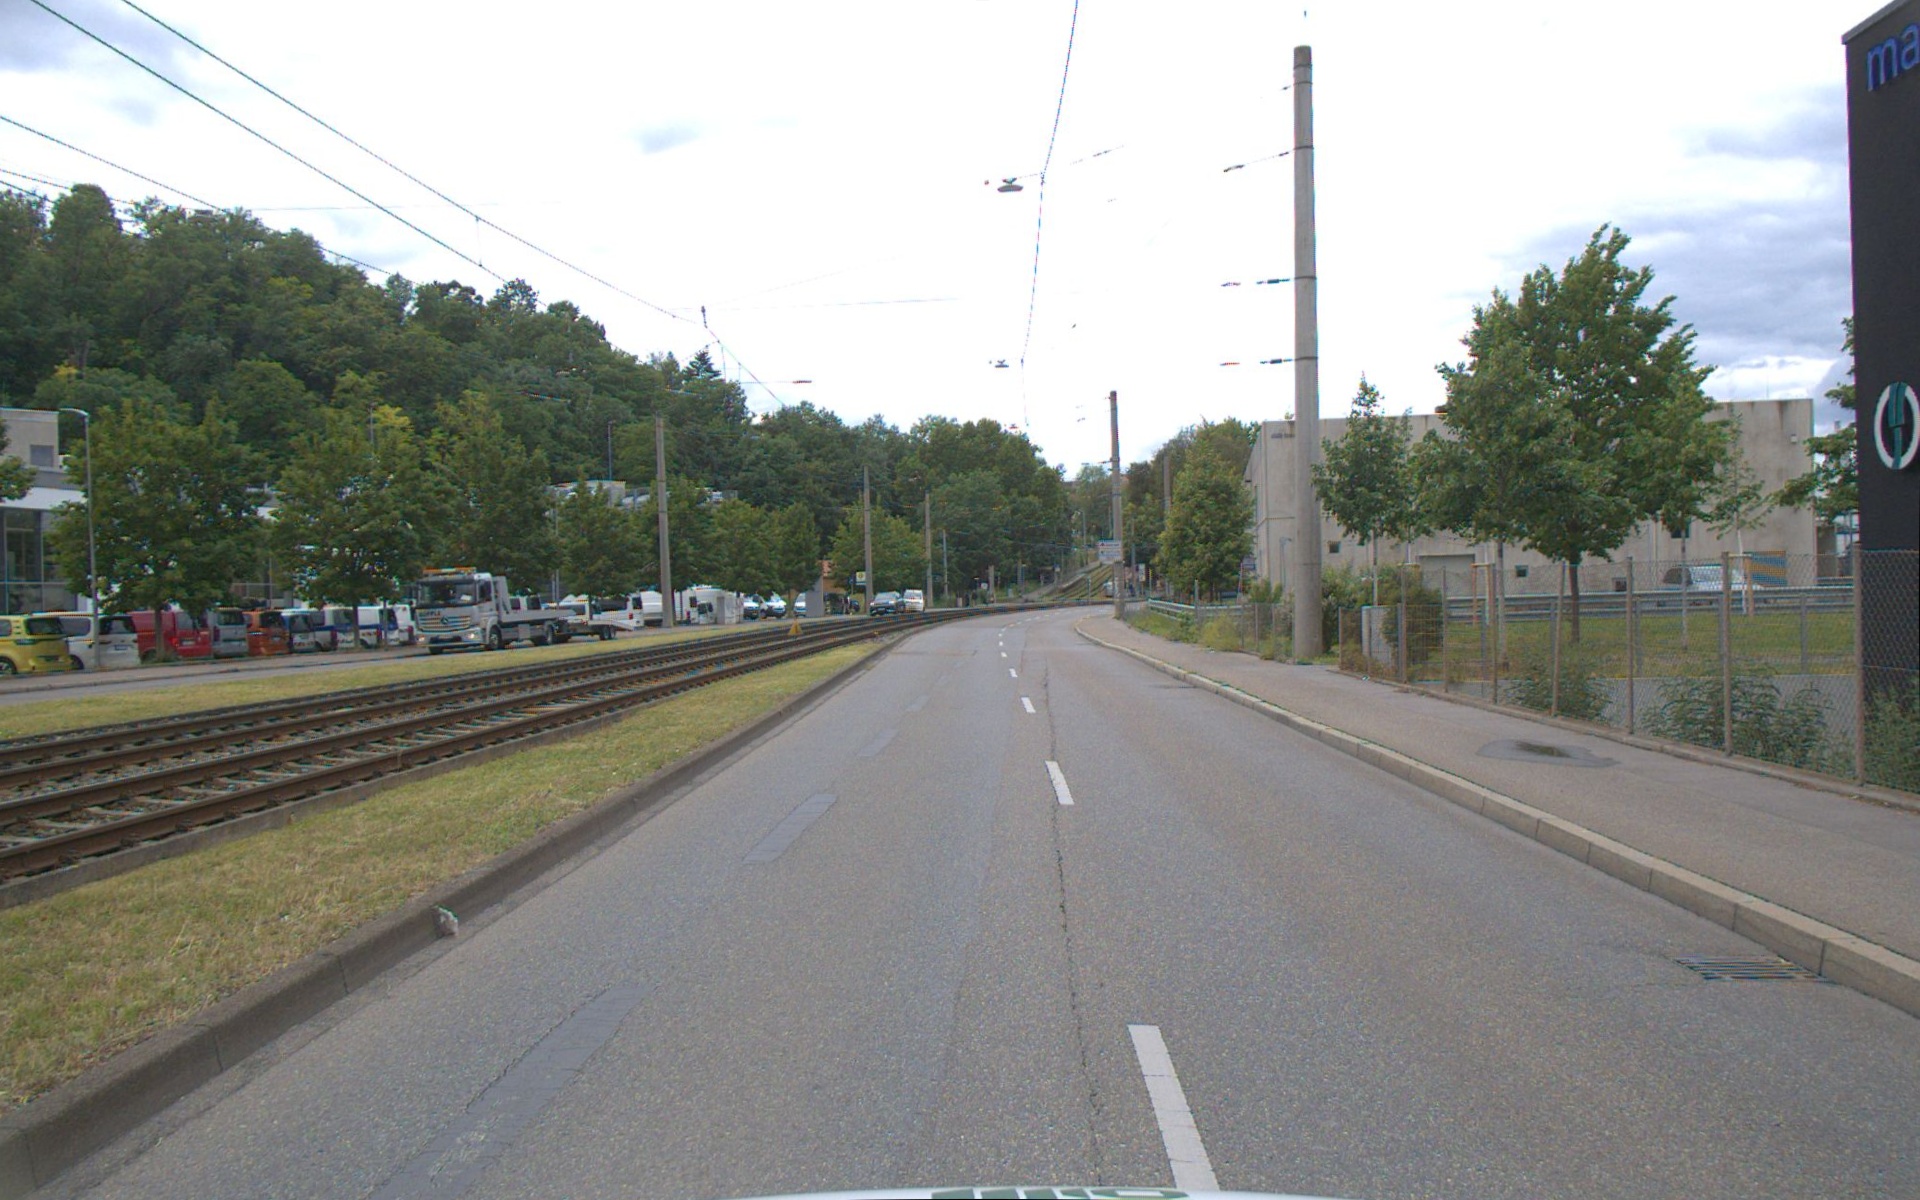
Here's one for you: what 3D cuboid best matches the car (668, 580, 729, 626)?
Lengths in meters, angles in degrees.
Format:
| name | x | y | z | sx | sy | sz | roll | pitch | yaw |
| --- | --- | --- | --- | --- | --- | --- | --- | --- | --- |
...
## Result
| name | x | y | z | sx | sy | sz | roll | pitch | yaw |
| --- | --- | --- | --- | --- | --- | --- | --- | --- | --- |
| car | -18.134 | 0.177 | 115.076 | 2.063 | 3.072 | 5.942 | -2 | 0 | 12 |

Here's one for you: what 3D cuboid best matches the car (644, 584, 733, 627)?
| name | x | y | z | sx | sy | sz | roll | pitch | yaw |
| --- | --- | --- | --- | --- | --- | --- | --- | --- | --- |
| car | -17.972 | 0.371 | 109.561 | 5.355 | 2.647 | 2.249 | -2 | 0 | 10 |

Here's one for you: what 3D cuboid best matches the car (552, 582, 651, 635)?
| name | x | y | z | sx | sy | sz | roll | pitch | yaw |
| --- | --- | --- | --- | --- | --- | --- | --- | --- | --- |
| car | -19.792 | 0.451 | 91.433 | 4.860 | 2.745 | 2.117 | -2 | 0 | 7 |

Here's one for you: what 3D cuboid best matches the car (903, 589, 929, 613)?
| name | x | y | z | sx | sy | sz | roll | pitch | yaw |
| --- | --- | --- | --- | --- | --- | --- | --- | --- | --- |
| car | -3.817 | 0.084 | 144.013 | 2.115 | 1.920 | 5.073 | 0 | 1 | 0 |

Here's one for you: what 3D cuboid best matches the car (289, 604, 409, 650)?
| name | x | y | z | sx | sy | sz | roll | pitch | yaw |
| --- | --- | --- | --- | --- | --- | --- | --- | --- | --- |
| car | -23.851 | 1.045 | 64.659 | 3.902 | 1.646 | 2.002 | -2 | 0 | 12 |

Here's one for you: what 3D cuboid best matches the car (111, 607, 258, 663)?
| name | x | y | z | sx | sy | sz | roll | pitch | yaw |
| --- | --- | --- | --- | --- | --- | --- | --- | --- | --- |
| car | -25.610 | 1.148 | 54.659 | 3.902 | 1.693 | 2.050 | -2 | 0 | 12 |

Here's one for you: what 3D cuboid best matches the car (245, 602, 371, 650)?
| name | x | y | z | sx | sy | sz | roll | pitch | yaw |
| --- | --- | --- | --- | --- | --- | --- | --- | --- | --- |
| car | -24.414 | 0.978 | 61.975 | 3.902 | 1.646 | 2.002 | -2 | 0 | 12 |

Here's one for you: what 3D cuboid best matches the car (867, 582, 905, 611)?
| name | x | y | z | sx | sy | sz | roll | pitch | yaw |
| --- | --- | --- | --- | --- | --- | --- | --- | --- | --- |
| car | -5.058 | -0.217 | 113.440 | 1.952 | 1.769 | 4.536 | -4 | -1 | 4 |

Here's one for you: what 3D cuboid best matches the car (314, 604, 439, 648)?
| name | x | y | z | sx | sy | sz | roll | pitch | yaw |
| --- | --- | --- | --- | --- | --- | --- | --- | --- | --- |
| car | -23.563 | 1.042 | 66.847 | 4.272 | 1.646 | 2.006 | -2 | 0 | 12 |

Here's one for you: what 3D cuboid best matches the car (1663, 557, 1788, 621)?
| name | x | y | z | sx | sy | sz | roll | pitch | yaw |
| --- | --- | --- | --- | --- | --- | --- | --- | --- | --- |
| car | 22.574 | -0.345 | 48.975 | 1.871 | 1.750 | 4.691 | -2 | 0 | 5 |

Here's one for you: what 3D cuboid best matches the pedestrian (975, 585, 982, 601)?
| name | x | y | z | sx | sy | sz | roll | pitch | yaw |
| --- | --- | --- | --- | --- | --- | --- | --- | --- | --- |
| pedestrian | 1.938 | -0.735 | 173.440 | 0.614 | 1.743 | 0.856 | 0 | 1 | 13 |

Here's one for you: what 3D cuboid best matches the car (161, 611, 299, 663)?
| name | x | y | z | sx | sy | sz | roll | pitch | yaw |
| --- | --- | --- | --- | --- | --- | --- | --- | --- | --- |
| car | -25.276 | 1.284 | 57.343 | 3.902 | 1.646 | 2.002 | -2 | 0 | 12 |

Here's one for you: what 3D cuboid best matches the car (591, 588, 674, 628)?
| name | x | y | z | sx | sy | sz | roll | pitch | yaw |
| --- | --- | --- | --- | --- | --- | --- | --- | --- | --- |
| car | -19.098 | 0.456 | 96.518 | 4.273 | 2.211 | 2.006 | -2 | 0 | 7 |

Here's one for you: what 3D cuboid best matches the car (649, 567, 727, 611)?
| name | x | y | z | sx | sy | sz | roll | pitch | yaw |
| --- | --- | --- | --- | --- | --- | --- | --- | --- | --- |
| car | -17.468 | -0.710 | 106.429 | 4.279 | 2.139 | 2.006 | 10 | 1 | 7 |

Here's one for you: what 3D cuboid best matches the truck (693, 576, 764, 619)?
| name | x | y | z | sx | sy | sz | roll | pitch | yaw |
| --- | --- | --- | --- | --- | --- | --- | --- | --- | --- |
| truck | -18.129 | -0.192 | 129.511 | 5.828 | 3.138 | 2.109 | -2 | 0 | 40 |

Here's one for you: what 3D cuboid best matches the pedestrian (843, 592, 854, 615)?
| name | x | y | z | sx | sy | sz | roll | pitch | yaw |
| --- | --- | --- | --- | --- | --- | --- | --- | --- | --- |
| pedestrian | -8.390 | 0.263 | 124.157 | 0.703 | 1.684 | 1.043 | 1 | 1 | 3 |

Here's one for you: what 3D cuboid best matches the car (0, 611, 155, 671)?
| name | x | y | z | sx | sy | sz | roll | pitch | yaw |
| --- | --- | --- | --- | --- | --- | --- | --- | --- | --- |
| car | -26.618 | 1.224 | 49.341 | 4.252 | 1.646 | 2.122 | -2 | 0 | 12 |

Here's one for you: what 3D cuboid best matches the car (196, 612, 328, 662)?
| name | x | y | z | sx | sy | sz | roll | pitch | yaw |
| --- | --- | --- | --- | --- | --- | --- | --- | --- | --- |
| car | -25.168 | 1.321 | 59.655 | 3.902 | 1.646 | 2.002 | -2 | 0 | 12 |

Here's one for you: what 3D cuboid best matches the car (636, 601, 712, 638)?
| name | x | y | z | sx | sy | sz | roll | pitch | yaw |
| --- | --- | --- | --- | --- | --- | --- | --- | --- | --- |
| car | -17.962 | 1.208 | 104.053 | 4.273 | 2.142 | 2.006 | -2 | 0 | 7 |

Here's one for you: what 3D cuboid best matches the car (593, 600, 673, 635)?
| name | x | y | z | sx | sy | sz | roll | pitch | yaw |
| --- | --- | --- | --- | --- | --- | --- | --- | --- | --- |
| car | -19.641 | 1.027 | 99.381 | 4.273 | 1.944 | 2.006 | -2 | 1 | 7 |

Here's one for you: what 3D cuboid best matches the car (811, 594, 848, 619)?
| name | x | y | z | sx | sy | sz | roll | pitch | yaw |
| --- | --- | --- | --- | --- | --- | --- | --- | --- | --- |
| car | -11.144 | 0.538 | 141.160 | 1.951 | 2.049 | 5.134 | -2 | 0 | 9 |

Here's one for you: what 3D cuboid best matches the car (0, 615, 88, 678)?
| name | x | y | z | sx | sy | sz | roll | pitch | yaw |
| --- | --- | --- | --- | --- | --- | --- | --- | --- | --- |
| car | -26.984 | 1.305 | 46.187 | 4.243 | 1.646 | 2.156 | -2 | 0 | 12 |

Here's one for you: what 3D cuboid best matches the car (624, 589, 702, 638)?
| name | x | y | z | sx | sy | sz | roll | pitch | yaw |
| --- | --- | --- | --- | --- | --- | --- | --- | --- | --- |
| car | -18.236 | 0.833 | 101.643 | 4.273 | 2.868 | 2.006 | -2 | 0 | 7 |

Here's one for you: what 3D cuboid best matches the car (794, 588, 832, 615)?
| name | x | y | z | sx | sy | sz | roll | pitch | yaw |
| --- | --- | --- | --- | --- | --- | --- | --- | --- | --- |
| car | -11.968 | 0.111 | 135.265 | 1.951 | 2.049 | 4.923 | -2 | 0 | 8 |

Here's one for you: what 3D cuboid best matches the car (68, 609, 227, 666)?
| name | x | y | z | sx | sy | sz | roll | pitch | yaw |
| --- | --- | --- | --- | --- | --- | --- | --- | --- | --- |
| car | -25.673 | 1.173 | 52.315 | 4.089 | 1.646 | 2.065 | -2 | 0 | 12 |

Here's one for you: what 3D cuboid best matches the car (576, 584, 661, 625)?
| name | x | y | z | sx | sy | sz | roll | pitch | yaw |
| --- | --- | --- | --- | --- | --- | --- | --- | --- | --- |
| car | -19.377 | 0.235 | 93.935 | 4.273 | 2.211 | 2.006 | -2 | 0 | 7 |

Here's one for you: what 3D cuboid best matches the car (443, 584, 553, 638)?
| name | x | y | z | sx | sy | sz | roll | pitch | yaw |
| --- | --- | --- | --- | --- | --- | --- | --- | --- | --- |
| car | -21.599 | 0.510 | 77.433 | 4.400 | 2.351 | 2.127 | -2 | 0 | 11 |

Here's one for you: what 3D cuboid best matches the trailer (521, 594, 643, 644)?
| name | x | y | z | sx | sy | sz | roll | pitch | yaw |
| --- | --- | --- | --- | --- | --- | --- | --- | --- | --- |
| trailer | -15.081 | 0.722 | 66.528 | 2.332 | 1.727 | 6.954 | -4 | 0 | 8 |

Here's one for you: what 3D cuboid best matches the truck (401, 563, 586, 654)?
| name | x | y | z | sx | sy | sz | roll | pitch | yaw |
| --- | --- | --- | --- | --- | --- | --- | --- | --- | --- |
| truck | -16.259 | 0.242 | 58.501 | 2.698 | 2.789 | 9.227 | -3 | 0 | 8 |

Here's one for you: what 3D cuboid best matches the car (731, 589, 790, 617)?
| name | x | y | z | sx | sy | sz | roll | pitch | yaw |
| --- | --- | --- | --- | --- | --- | --- | --- | --- | --- |
| car | -15.888 | 0.242 | 131.668 | 4.639 | 2.049 | 1.991 | -2 | 0 | 38 |

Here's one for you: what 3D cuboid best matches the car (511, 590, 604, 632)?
| name | x | y | z | sx | sy | sz | roll | pitch | yaw |
| --- | --- | --- | --- | --- | --- | --- | --- | --- | --- |
| car | -21.280 | 0.566 | 87.477 | 4.273 | 2.045 | 2.006 | -2 | 0 | 7 |
